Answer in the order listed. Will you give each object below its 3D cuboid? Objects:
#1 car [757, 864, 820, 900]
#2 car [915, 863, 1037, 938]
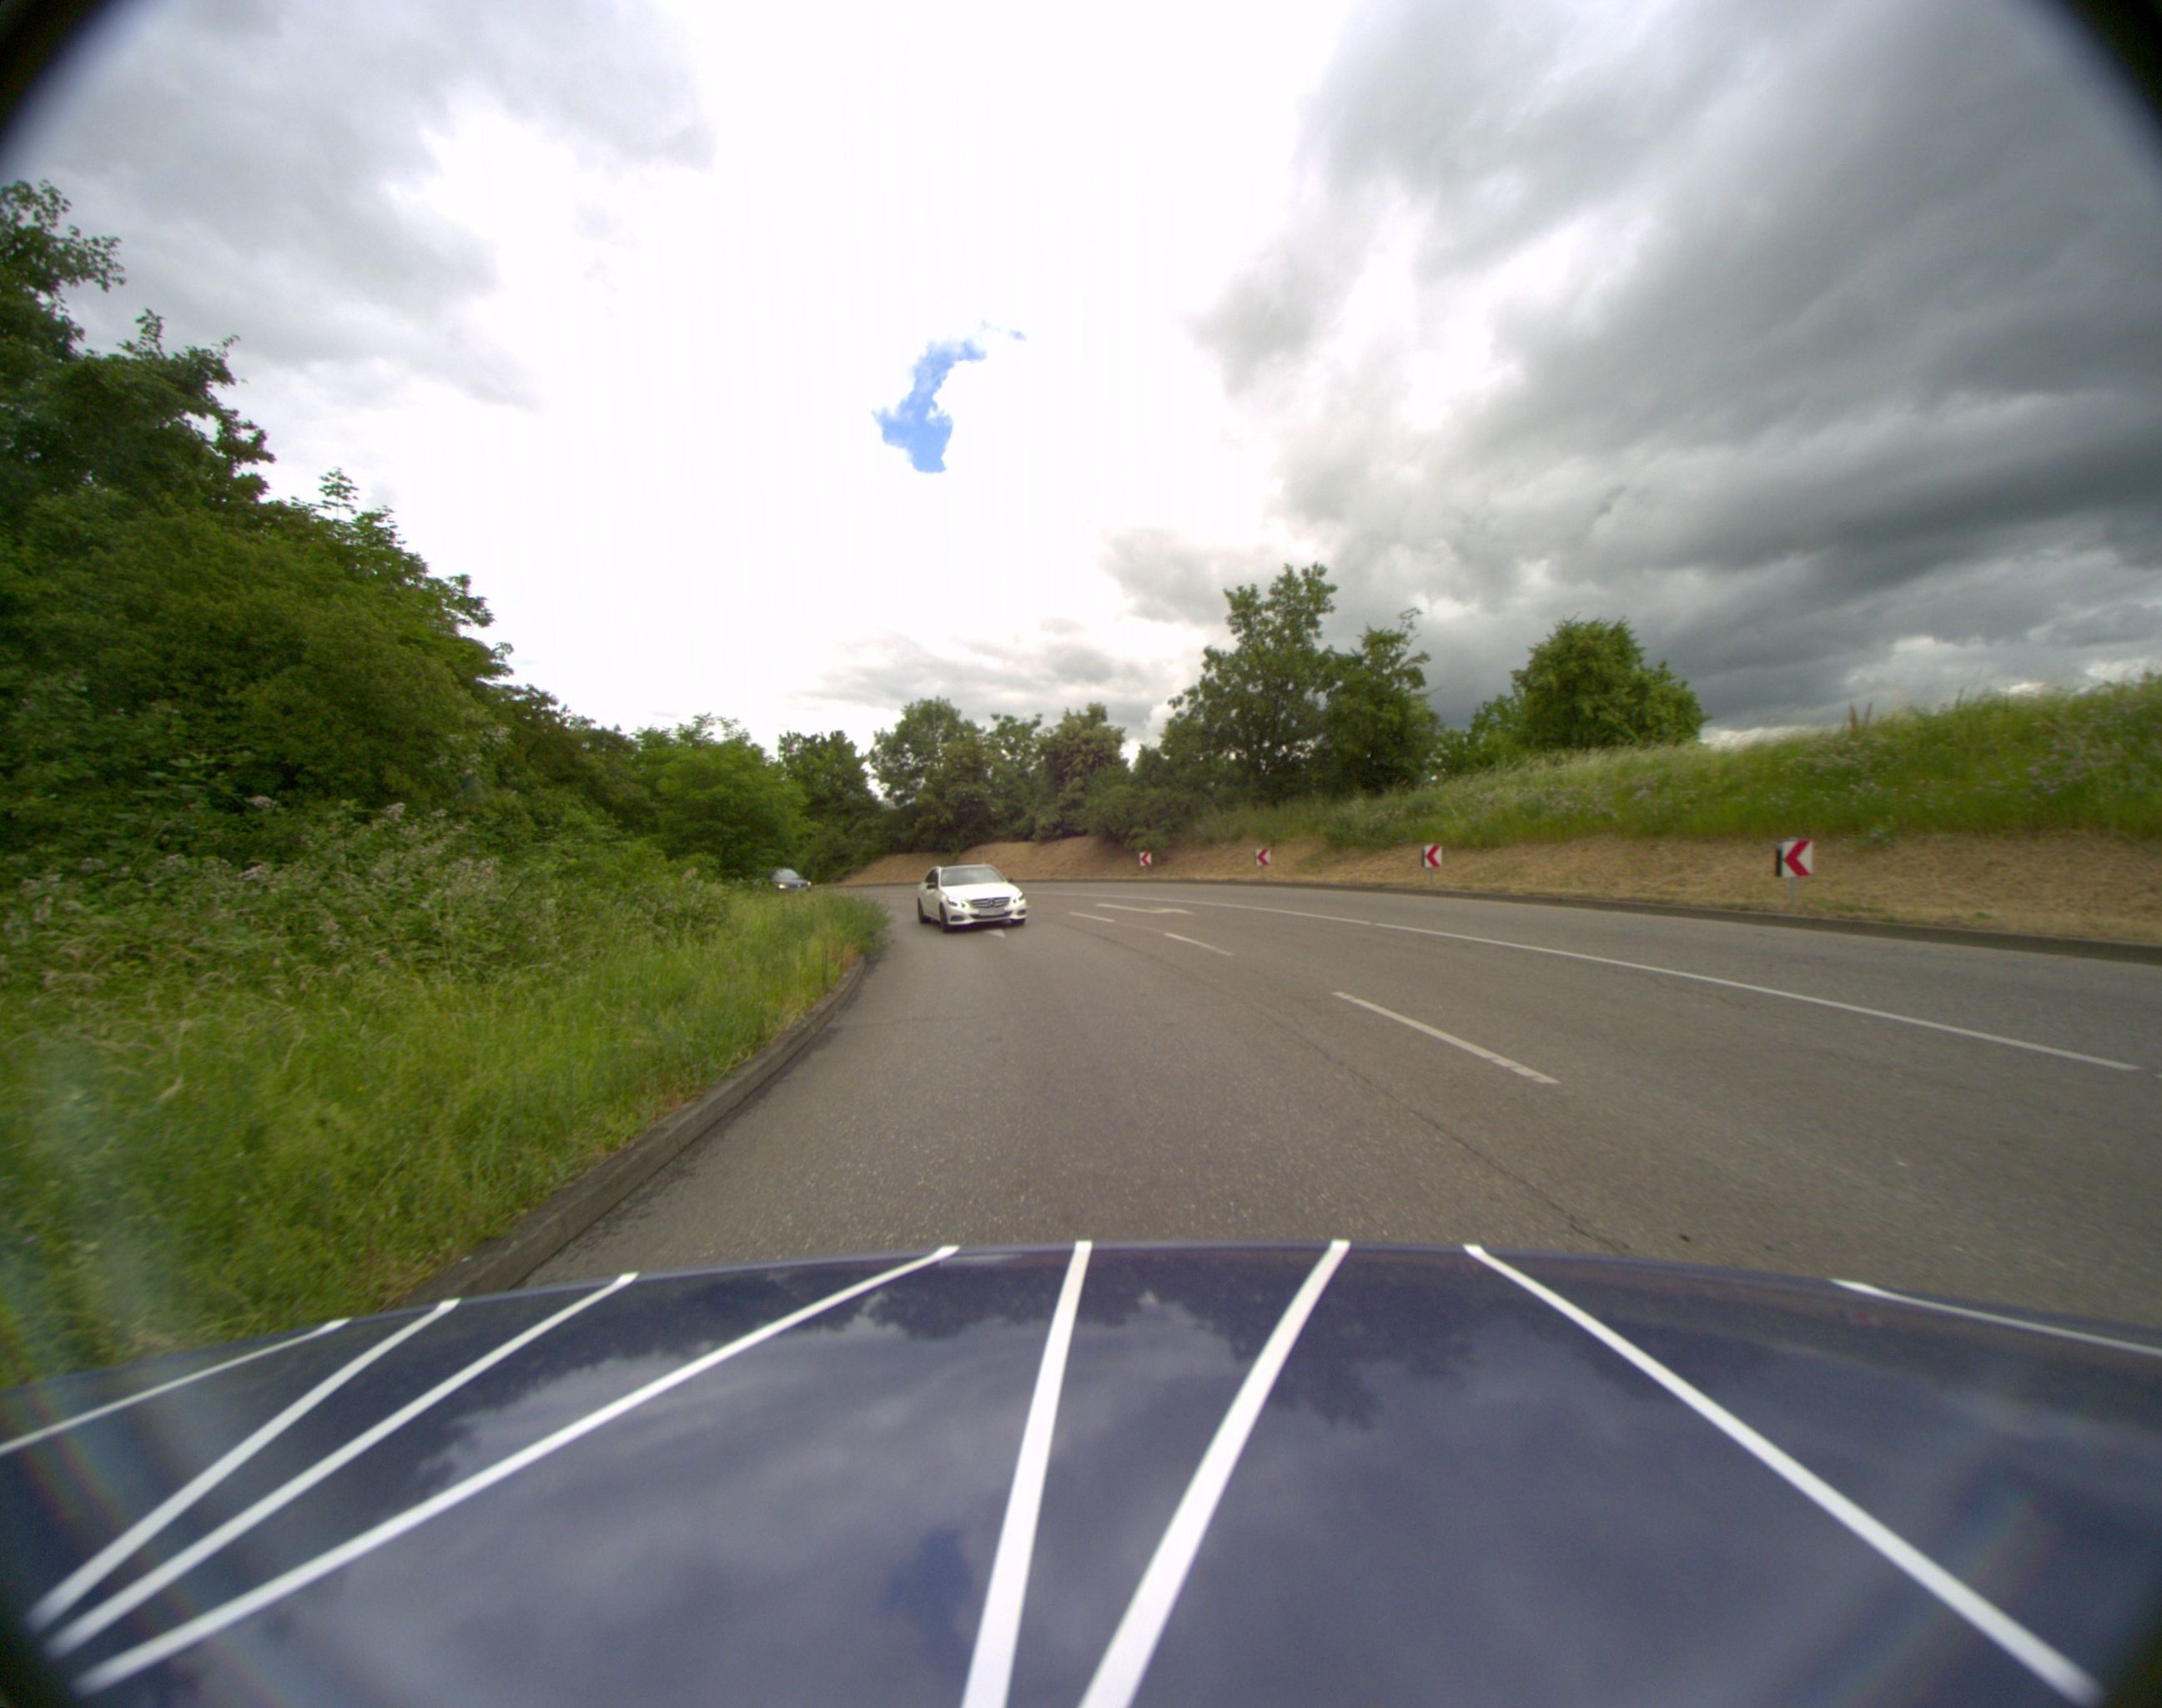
[{"bbox_3d":[-13.989,1.351,36.241,1.827,1.535,3.717,-3,-1,-36],"label":"car"},{"bbox_3d":[-2.621,1.026,18.116,1.890,1.414,3.994,-5,0,-21],"label":"car"}]
